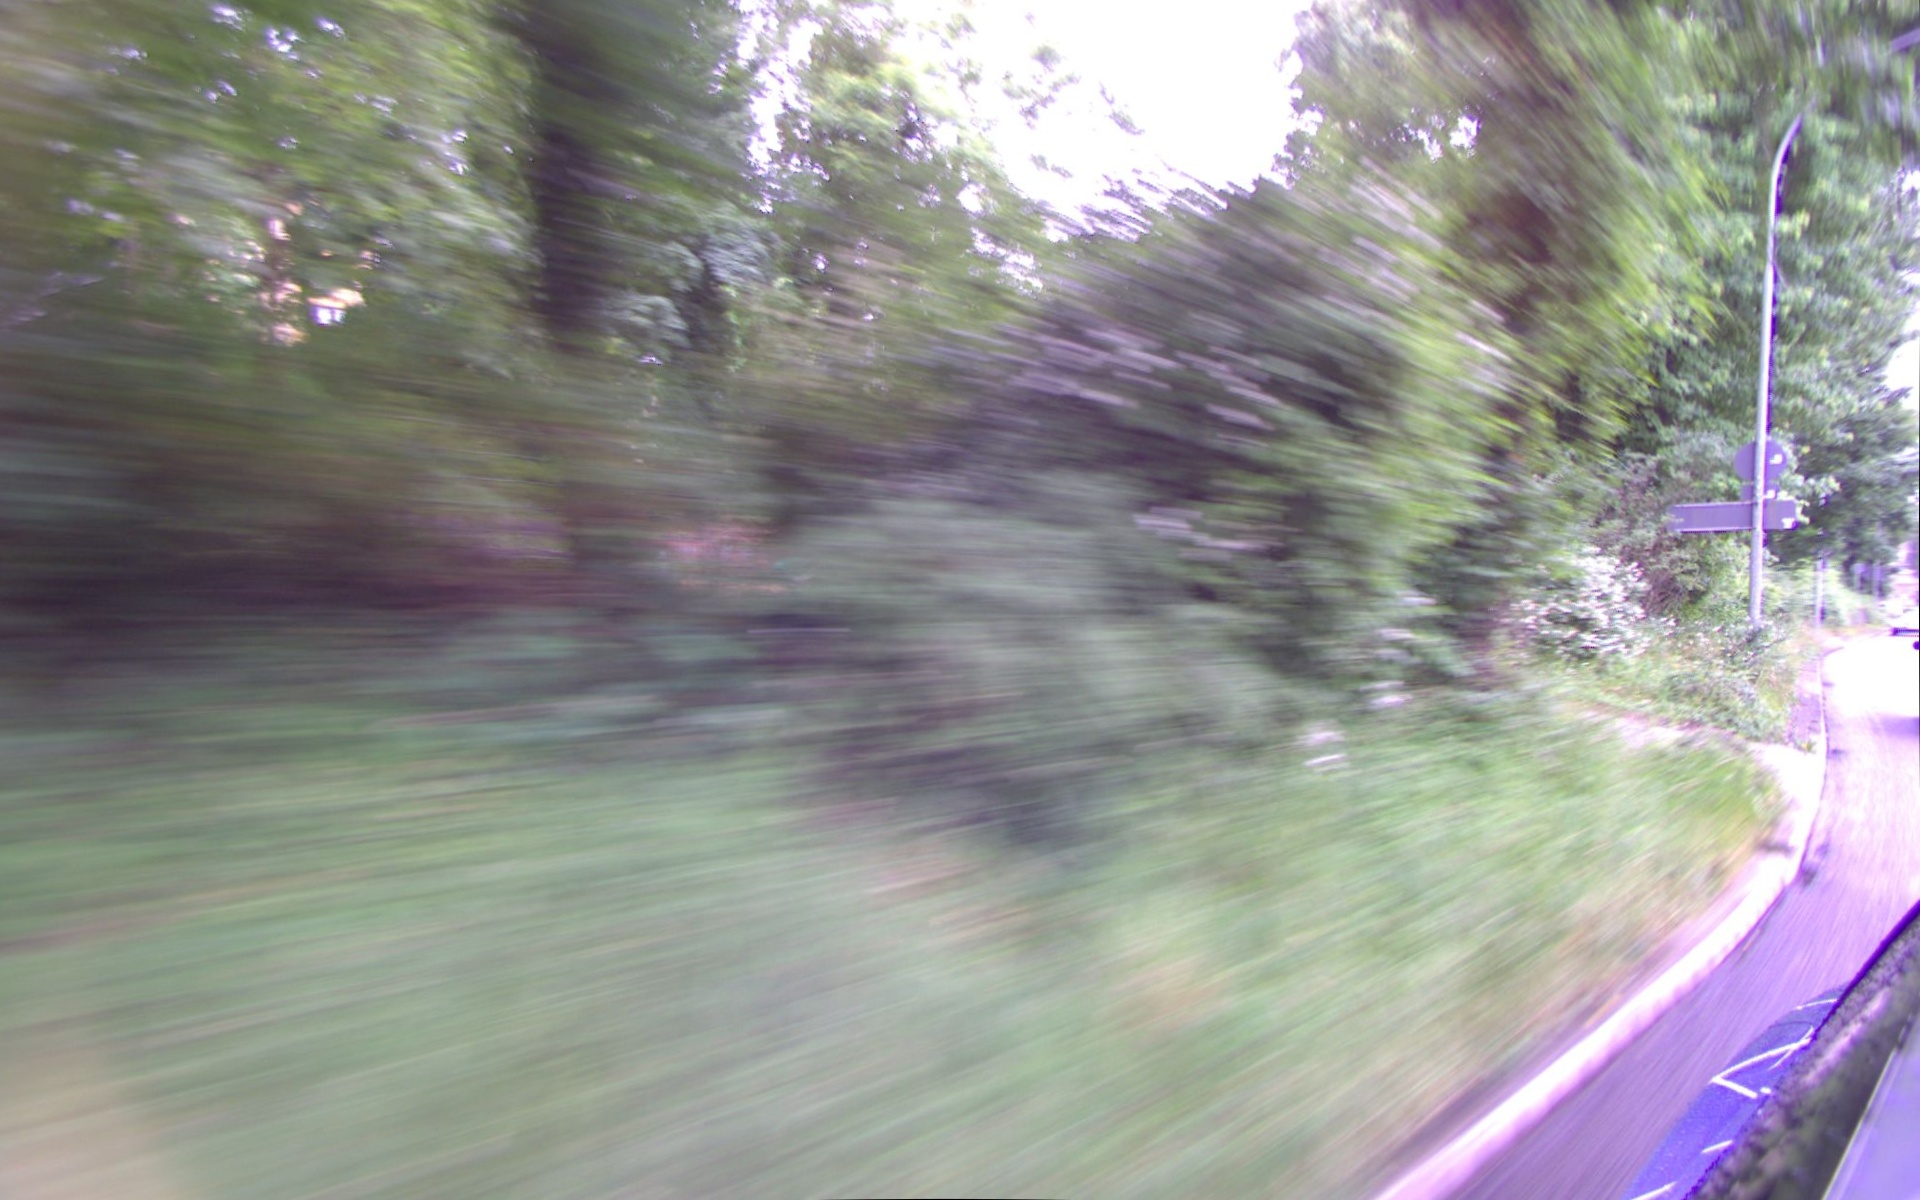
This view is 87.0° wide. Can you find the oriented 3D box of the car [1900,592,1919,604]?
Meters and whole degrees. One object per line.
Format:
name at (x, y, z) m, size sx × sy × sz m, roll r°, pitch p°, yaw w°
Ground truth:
car at (134.897, -0.263, 143.226) m, size 1.855 × 1.586 × 4.126 m, roll 3°, pitch 2°, yaw 32°
